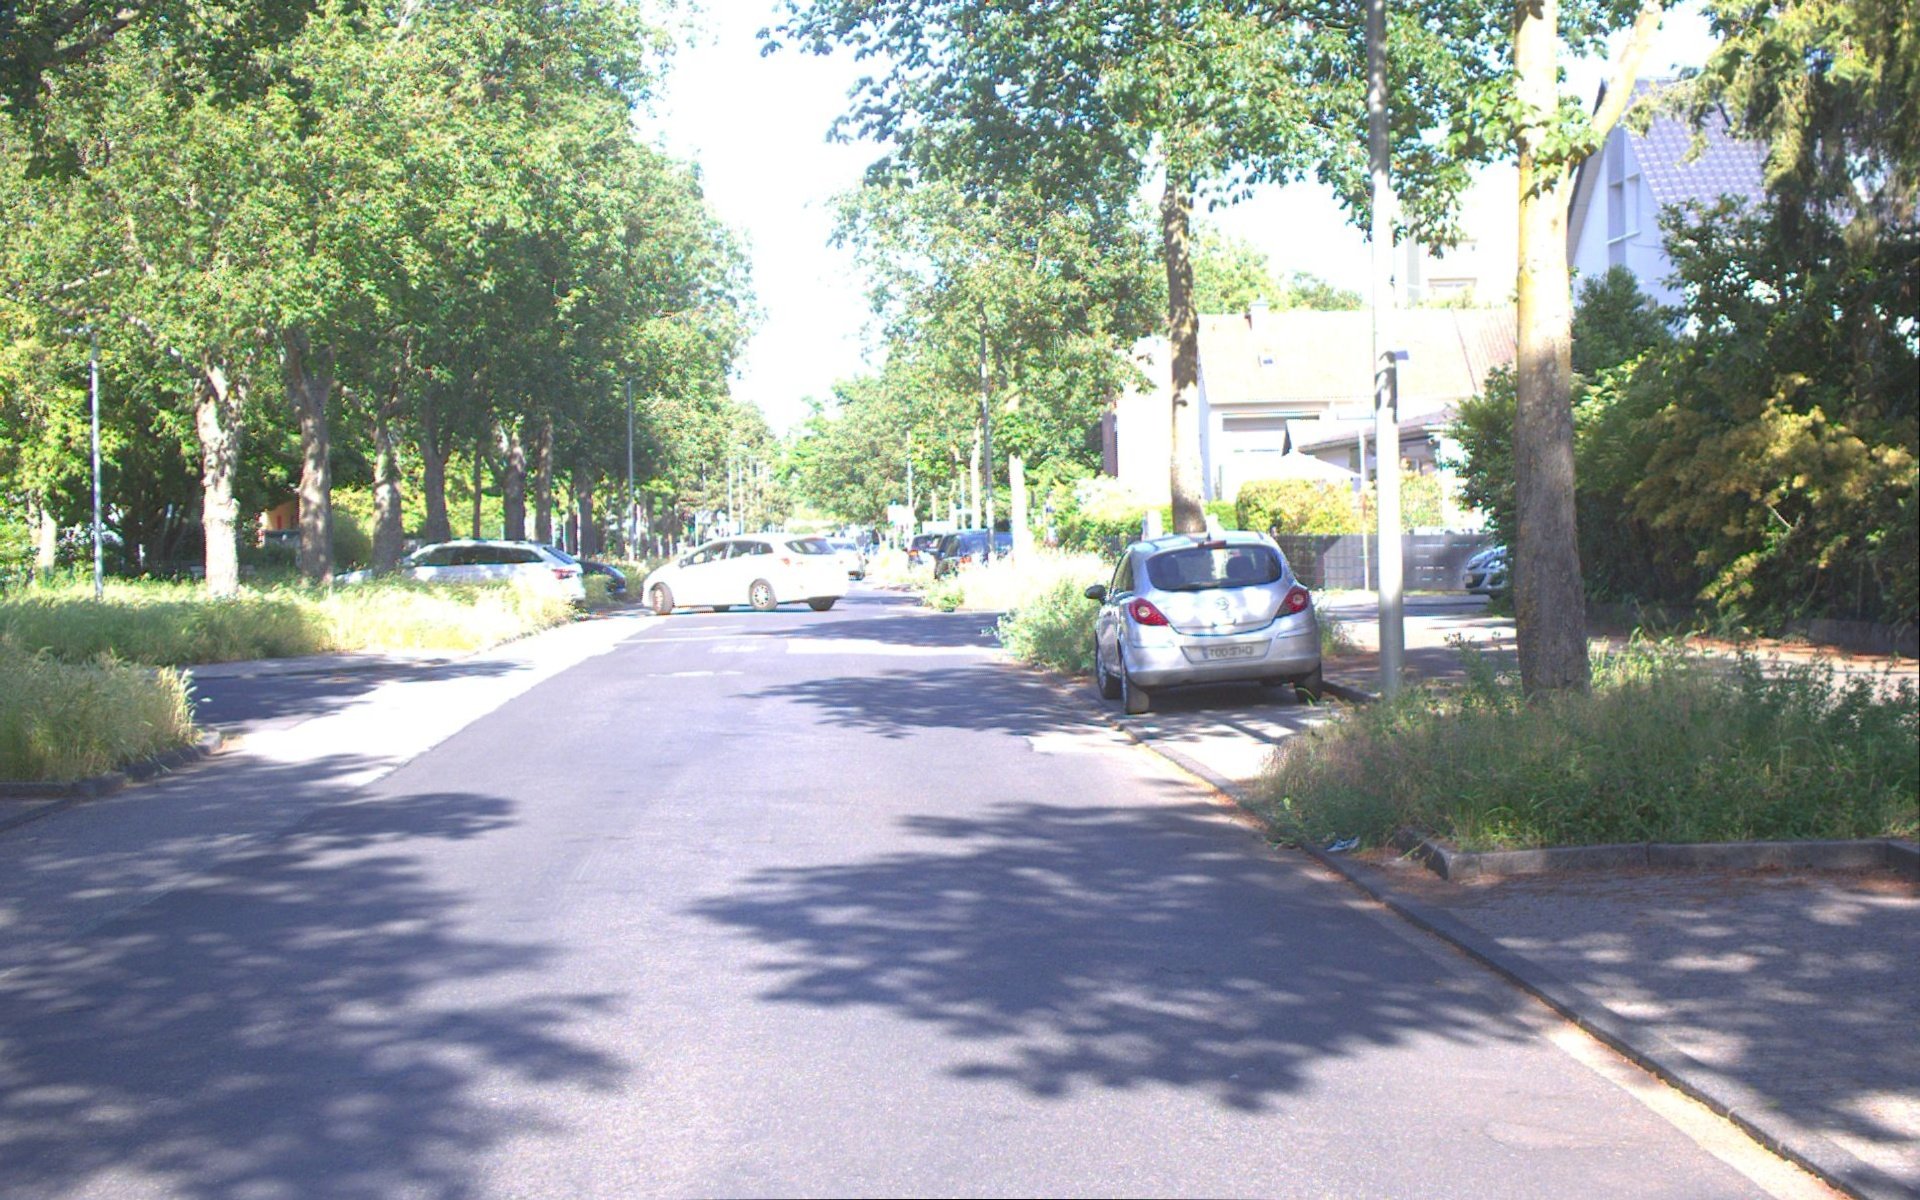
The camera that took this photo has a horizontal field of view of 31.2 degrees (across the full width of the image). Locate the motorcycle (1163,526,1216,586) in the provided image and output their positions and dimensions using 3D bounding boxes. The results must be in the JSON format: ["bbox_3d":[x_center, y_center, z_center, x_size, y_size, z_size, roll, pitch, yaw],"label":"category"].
[{"bbox_3d":[4.887,-0.950,73.295,0.818,1.223,2.352,-2,1,-3],"label":"motorcycle"}]

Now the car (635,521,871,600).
[{"bbox_3d":[-3.973,-0.751,65.596,4.220,1.450,1.996,0,1,38],"label":"car"}]

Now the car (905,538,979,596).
[{"bbox_3d":[-0.593,-1.032,109.483,1.993,1.722,4.001,-2,0,-4],"label":"car"}]

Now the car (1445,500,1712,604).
[{"bbox_3d":[10.269,-0.809,57.224,3.986,1.634,1.777,-1,1,-8],"label":"car"}]

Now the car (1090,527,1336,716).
[{"bbox_3d":[2.255,0.167,30.461,1.994,1.505,3.999,-2,0,5],"label":"car"}]

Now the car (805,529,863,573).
[{"bbox_3d":[-4.608,-1.786,125.063,1.993,1.503,3.659,2,1,-3],"label":"car"}]

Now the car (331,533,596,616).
[{"bbox_3d":[-9.242,-0.483,64.237,4.671,1.498,2.000,0,1,-1],"label":"car"}]

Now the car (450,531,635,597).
[{"bbox_3d":[-10.179,-0.878,83.988,4.366,1.526,1.808,1,0,-3],"label":"car"}]

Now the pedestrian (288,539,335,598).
[{"bbox_3d":[-20.295,-0.976,107.629,1.224,1.821,1.551,1,0,-19],"label":"pedestrian"}]

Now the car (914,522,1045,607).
[{"bbox_3d":[0.365,-0.745,70.705,1.993,1.616,4.383,2,1,-8],"label":"car"}]

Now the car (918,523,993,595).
[{"bbox_3d":[-0.129,-0.985,82.399,1.610,1.616,4.382,2,1,-2],"label":"car"}]
